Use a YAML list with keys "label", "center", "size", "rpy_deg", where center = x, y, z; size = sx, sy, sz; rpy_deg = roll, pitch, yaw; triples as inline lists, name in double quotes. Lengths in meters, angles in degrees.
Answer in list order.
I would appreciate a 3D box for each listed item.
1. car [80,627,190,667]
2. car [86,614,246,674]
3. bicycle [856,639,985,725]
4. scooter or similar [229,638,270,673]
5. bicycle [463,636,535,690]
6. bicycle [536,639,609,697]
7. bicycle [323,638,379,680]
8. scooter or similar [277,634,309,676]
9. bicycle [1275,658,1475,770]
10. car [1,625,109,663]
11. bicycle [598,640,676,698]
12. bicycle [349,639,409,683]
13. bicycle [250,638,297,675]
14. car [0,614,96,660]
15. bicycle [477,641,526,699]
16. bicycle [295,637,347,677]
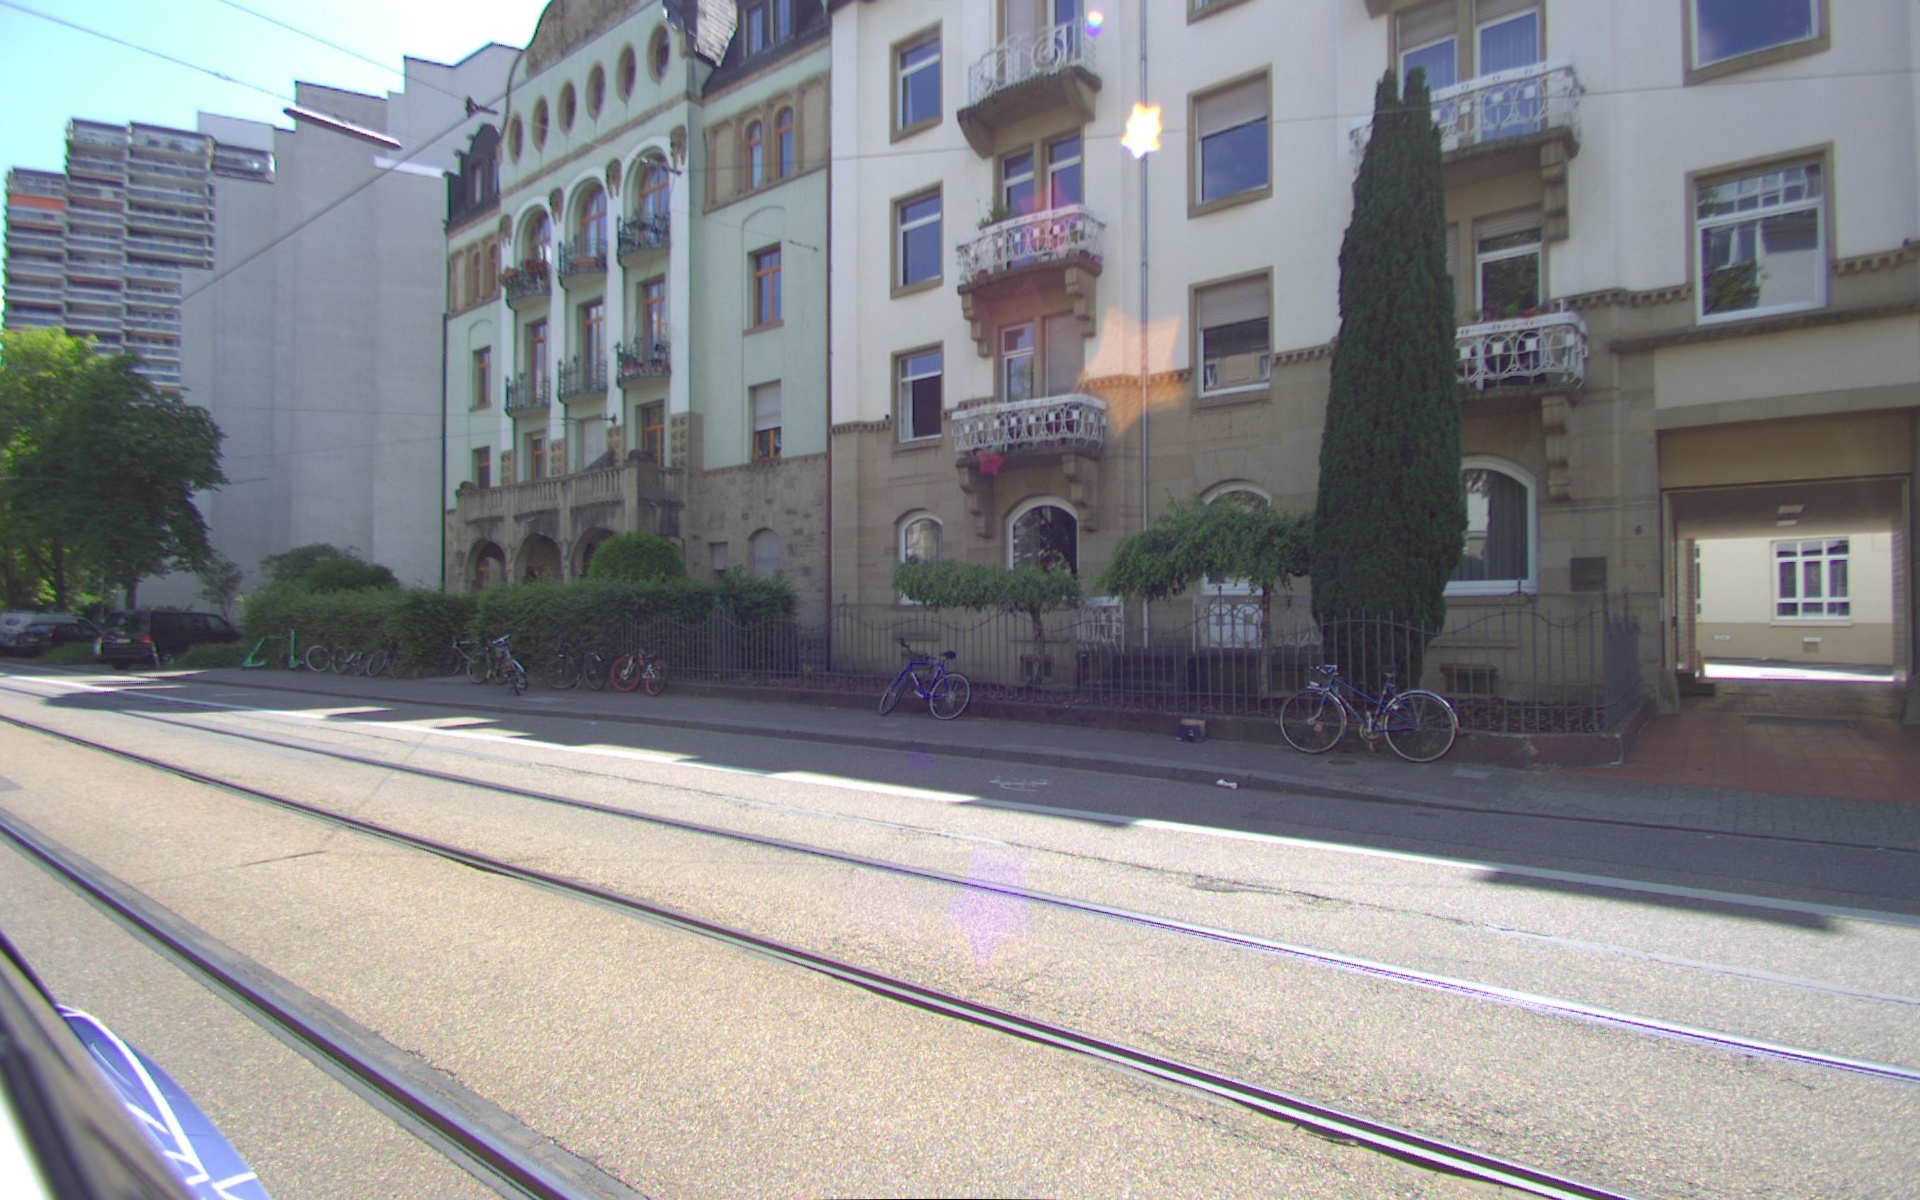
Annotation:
- label: "car"
  center: [-32.244, 1.810, 39.693]
  size: [1.699, 1.465, 3.633]
  rpy_deg: [0, -2, -8]
- label: "car"
  center: [-27.335, 1.496, 35.077]
  size: [1.935, 1.940, 4.585]
  rpy_deg: [0, -2, 1]
- label: "bicycle"
  center: [-0.558, 1.097, 13.975]
  size: [1.769, 1.072, 0.602]
  rpy_deg: [-2, 2, 38]
- label: "scooter or similar"
  center: [-21.263, 1.658, 30.272]
  size: [1.216, 1.028, 0.404]
  rpy_deg: [-1, -2, 23]
- label: "bicycle"
  center: [-9.761, 1.314, 21.397]
  size: [1.769, 1.040, 0.602]
  rpy_deg: [-2, 2, 38]
- label: "bicycle"
  center: [-7.374, 1.269, 19.219]
  size: [1.705, 1.006, 0.460]
  rpy_deg: [-1, 1, 38]
- label: "bicycle"
  center: [-15.576, 1.488, 25.868]
  size: [1.705, 0.996, 0.602]
  rpy_deg: [-2, 2, 38]
- label: "scooter or similar"
  center: [-18.619, 1.516, 28.248]
  size: [1.290, 1.128, 0.401]
  rpy_deg: [-2, -2, 40]
- label: "bicycle"
  center: [4.181, 1.119, 10.286]
  size: [1.839, 0.968, 0.406]
  rpy_deg: [0, 2, 38]
- label: "car"
  center: [-40.166, 1.916, 45.017]
  size: [1.657, 1.587, 3.688]
  rpy_deg: [1, -2, -5]
- label: "bicycle"
  center: [-5.835, 1.223, 18.215]
  size: [1.723, 0.973, 0.409]
  rpy_deg: [-1, 1, 38]
- label: "bicycle"
  center: [-14.143, 1.470, 24.617]
  size: [1.769, 0.983, 0.602]
  rpy_deg: [-2, 2, 38]
- label: "bicycle"
  center: [-19.850, 1.615, 29.258]
  size: [1.705, 0.996, 0.602]
  rpy_deg: [-2, 2, 38]
- label: "car"
  center: [-42.797, 1.693, 47.217]
  size: [1.579, 2.058, 4.055]
  rpy_deg: [0, -2, -3]
- label: "bicycle"
  center: [-8.669, 1.302, 19.200]
  size: [0.599, 1.007, 1.780]
  rpy_deg: [0, -2, -16]
- label: "bicycle"
  center: [-17.155, 1.527, 27.172]
  size: [1.705, 0.996, 0.602]
  rpy_deg: [-2, 2, 38]
